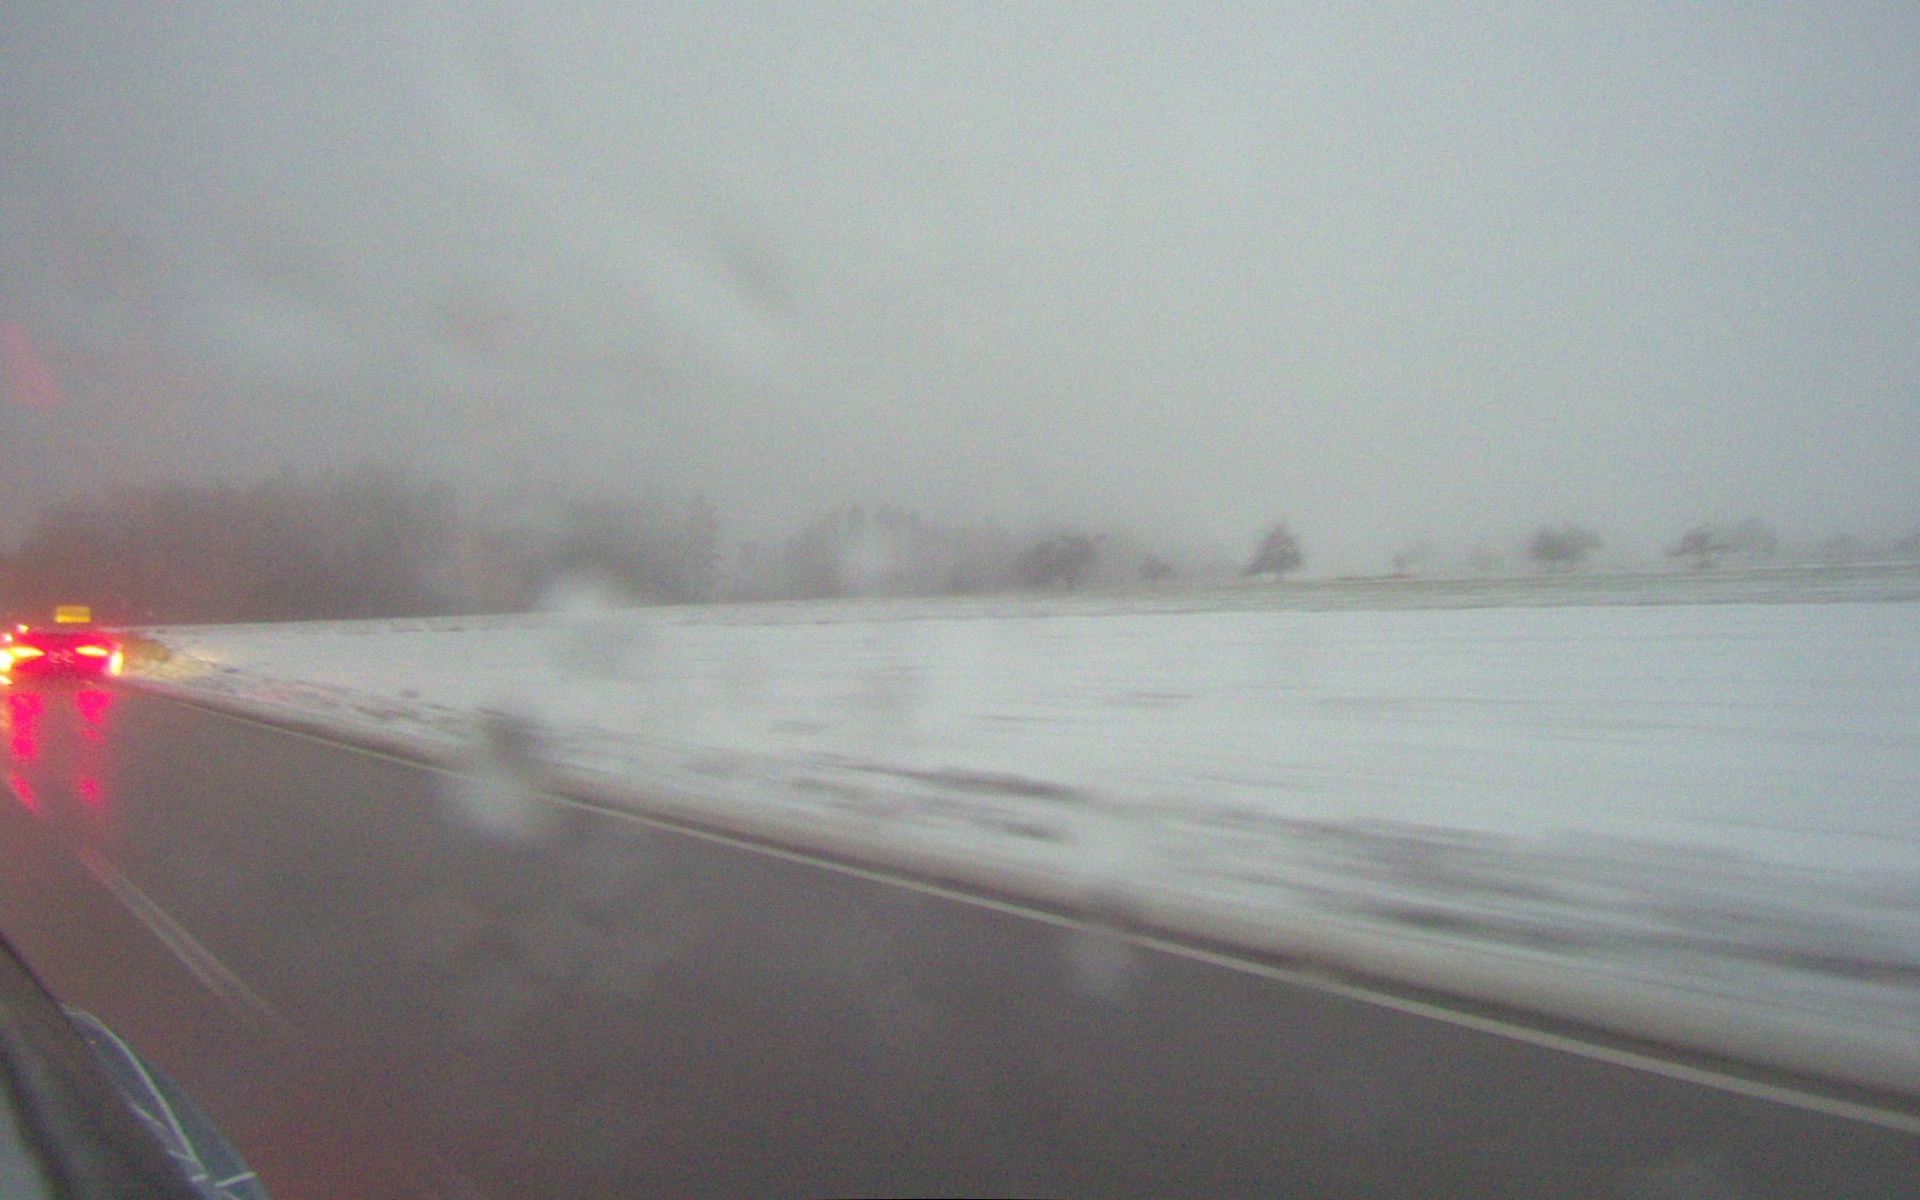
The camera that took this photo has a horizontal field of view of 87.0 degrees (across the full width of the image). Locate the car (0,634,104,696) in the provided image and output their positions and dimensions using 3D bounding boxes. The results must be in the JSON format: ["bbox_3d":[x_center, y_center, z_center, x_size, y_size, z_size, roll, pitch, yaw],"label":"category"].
[{"bbox_3d":[-22.233,1.519,24.503,4.220,1.356,1.709,-1,-3,42],"label":"car"}]
